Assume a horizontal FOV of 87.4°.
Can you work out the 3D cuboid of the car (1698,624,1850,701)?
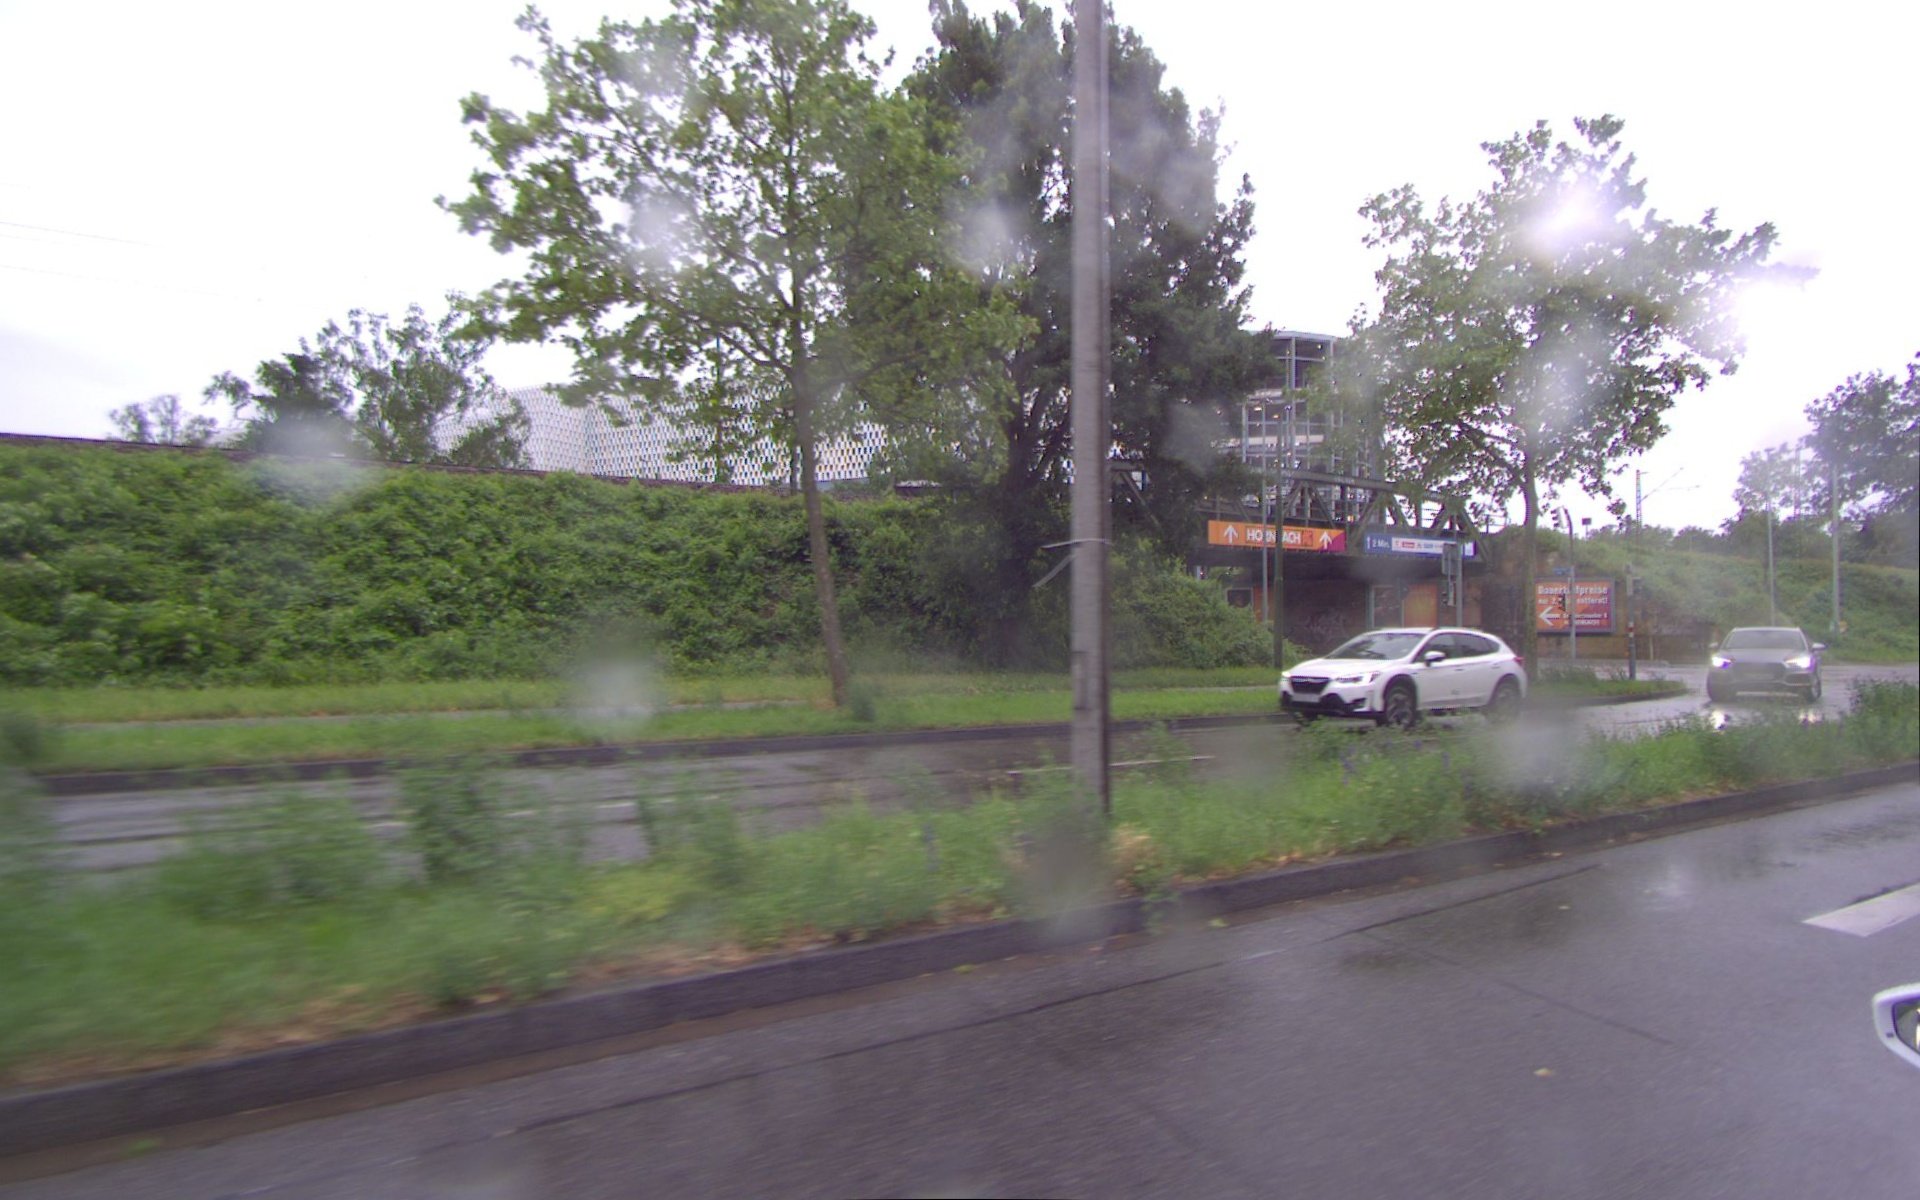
[{"bbox_3d":[18.875,1.387,23.227,4.480,1.610,1.842,2,-2,-39],"label":"car"}]

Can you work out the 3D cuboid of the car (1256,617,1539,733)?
[{"bbox_3d":[6.943,1.110,15.852,4.466,1.610,1.848,2,-2,-30],"label":"car"}]
